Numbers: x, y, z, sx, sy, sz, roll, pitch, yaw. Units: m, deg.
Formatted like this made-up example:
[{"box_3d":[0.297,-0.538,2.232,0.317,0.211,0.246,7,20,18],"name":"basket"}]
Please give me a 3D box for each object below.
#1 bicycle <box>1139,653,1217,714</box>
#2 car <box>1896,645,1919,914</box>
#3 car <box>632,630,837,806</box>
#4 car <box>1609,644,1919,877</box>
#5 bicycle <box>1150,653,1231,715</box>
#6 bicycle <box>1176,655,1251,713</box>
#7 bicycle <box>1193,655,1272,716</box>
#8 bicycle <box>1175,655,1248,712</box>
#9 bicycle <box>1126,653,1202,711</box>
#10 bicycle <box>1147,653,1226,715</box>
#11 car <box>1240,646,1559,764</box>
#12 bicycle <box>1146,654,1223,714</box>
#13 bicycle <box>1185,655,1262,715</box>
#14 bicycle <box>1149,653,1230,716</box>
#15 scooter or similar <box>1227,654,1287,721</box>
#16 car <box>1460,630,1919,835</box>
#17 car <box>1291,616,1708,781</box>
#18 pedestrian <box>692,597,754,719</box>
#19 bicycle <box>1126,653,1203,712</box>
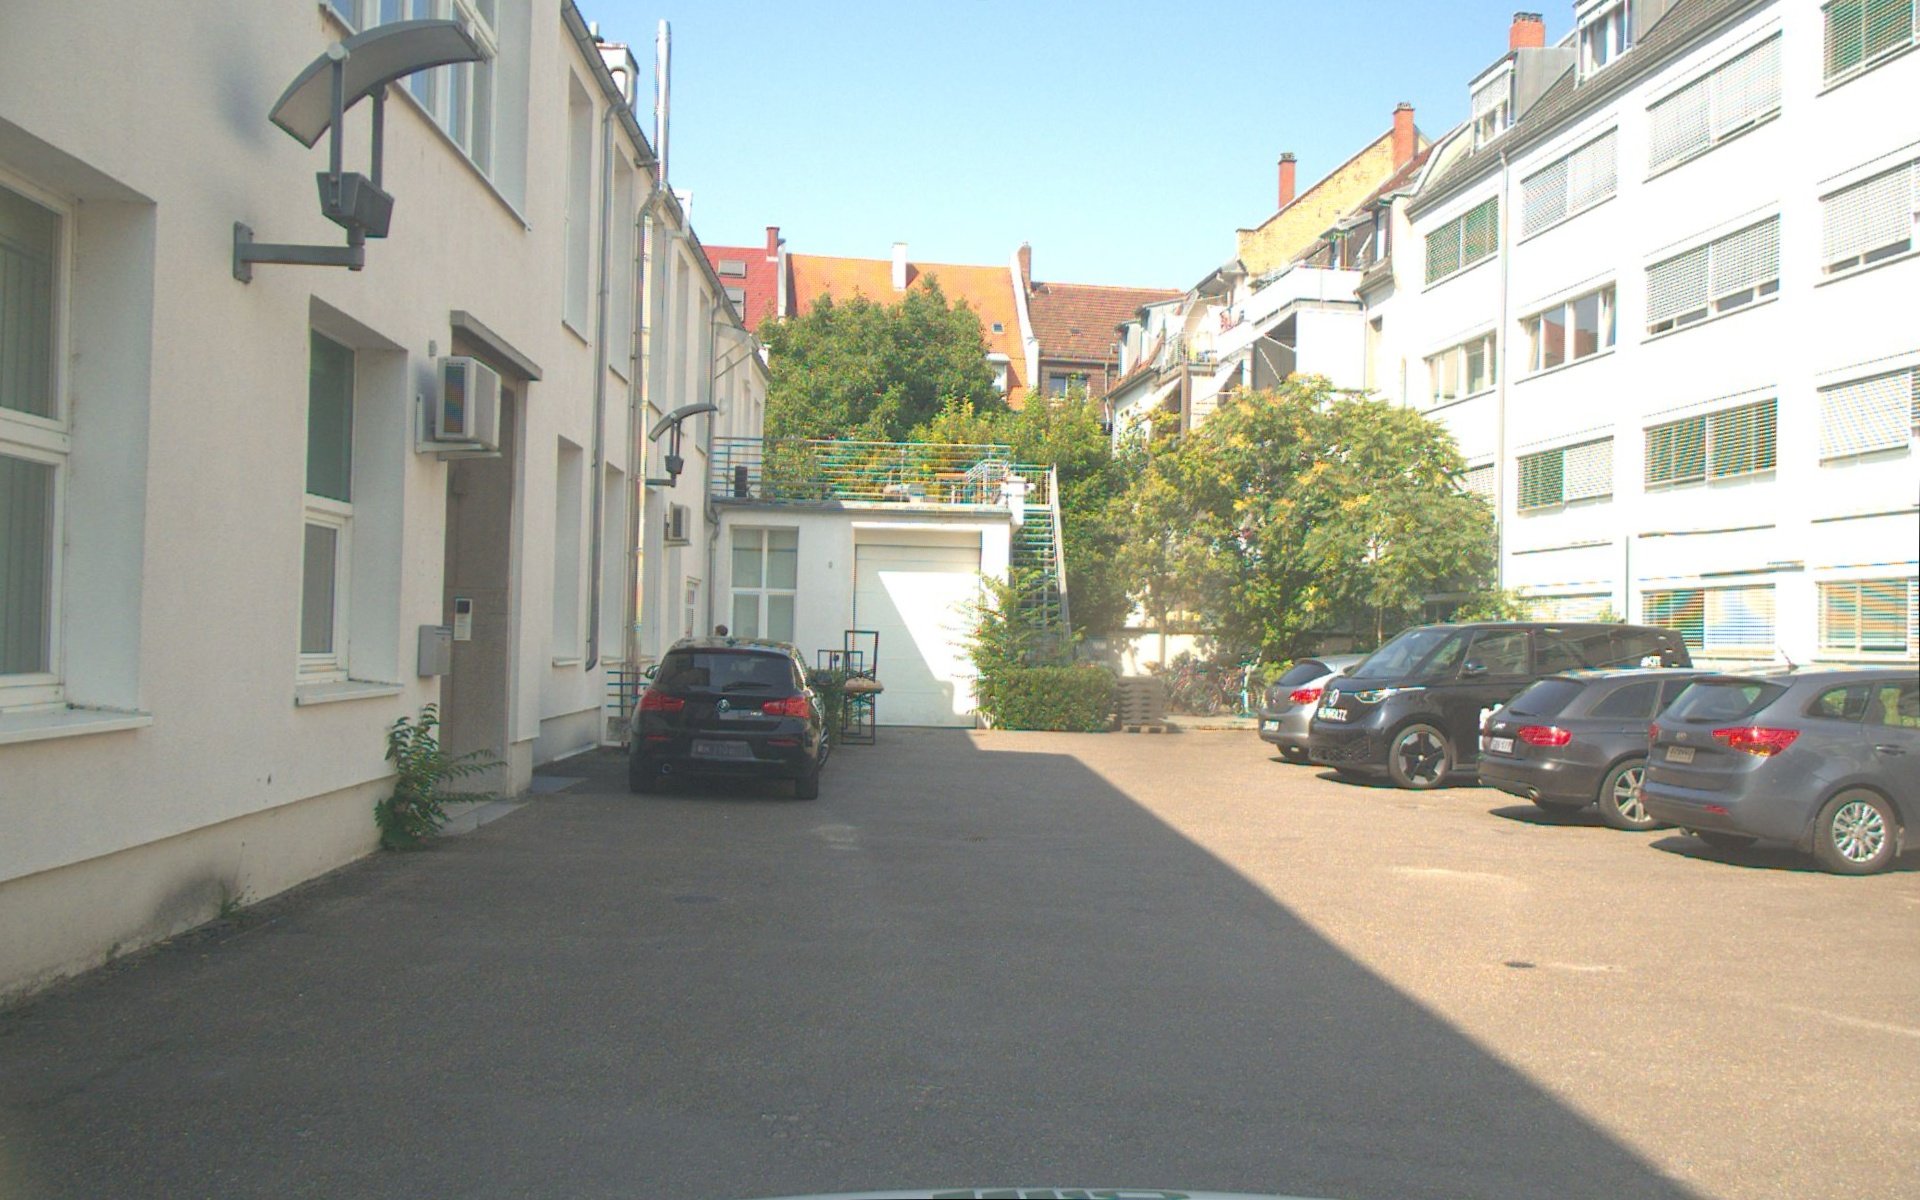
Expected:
[{"box_3d":[4.576,1.748,34.735,1.588,1.235,0.327,0,-2,11],"name":"bicycle"},{"box_3d":[7.759,1.129,9.614,3.731,1.617,1.892,2,-2,-12],"name":"car"},{"box_3d":[-2.104,1.091,16.367,1.655,1.485,3.919,2,-2,-3],"name":"car"},{"box_3d":[7.292,1.214,12.801,3.788,1.617,1.876,2,-2,-7],"name":"car"},{"box_3d":[4.678,1.713,33.630,1.590,1.235,0.327,1,-2,-1],"name":"bicycle"},{"box_3d":[5.488,1.812,35.737,1.588,1.235,0.424,0,-2,11],"name":"bicycle"},{"box_3d":[5.649,1.767,34.306,1.588,1.235,0.327,0,-2,13],"name":"bicycle"},{"box_3d":[5.598,1.850,36.766,1.588,1.235,0.424,0,-2,11],"name":"bicycle"},{"box_3d":[4.435,1.790,36.041,1.592,1.235,0.423,1,-2,-7],"name":"bicycle"},{"box_3d":[4.641,1.722,33.922,1.590,1.235,0.327,1,-2,-1],"name":"bicycle"},{"box_3d":[5.980,1.426,22.664,3.862,1.508,1.769,1,-2,-11],"name":"car"},{"box_3d":[4.663,1.739,34.374,1.588,1.235,0.327,0,-2,8],"name":"bicycle"},{"box_3d":[5.604,1.795,35.164,1.588,1.235,0.424,0,-2,11],"name":"bicycle"},{"box_3d":[4.622,1.701,33.307,1.590,1.235,0.327,1,-2,-1],"name":"bicycle"},{"box_3d":[5.934,1.740,33.105,0.375,1.283,1.333,2,-2,-33],"name":"scooter or similar"},{"box_3d":[7.022,1.222,15.613,4.036,1.721,1.769,2,-2,-5],"name":"car"},{"box_3d":[6.395,1.177,19.799,4.420,1.826,1.878,1,-2,-11],"name":"car"},{"box_3d":[-4.099,1.011,28.711,0.895,2.049,0.934,2,-2,-2],"name":"pedestrian"},{"box_3d":[4.372,1.766,35.405,1.590,1.235,0.424,1,-2,-3],"name":"bicycle"}]
